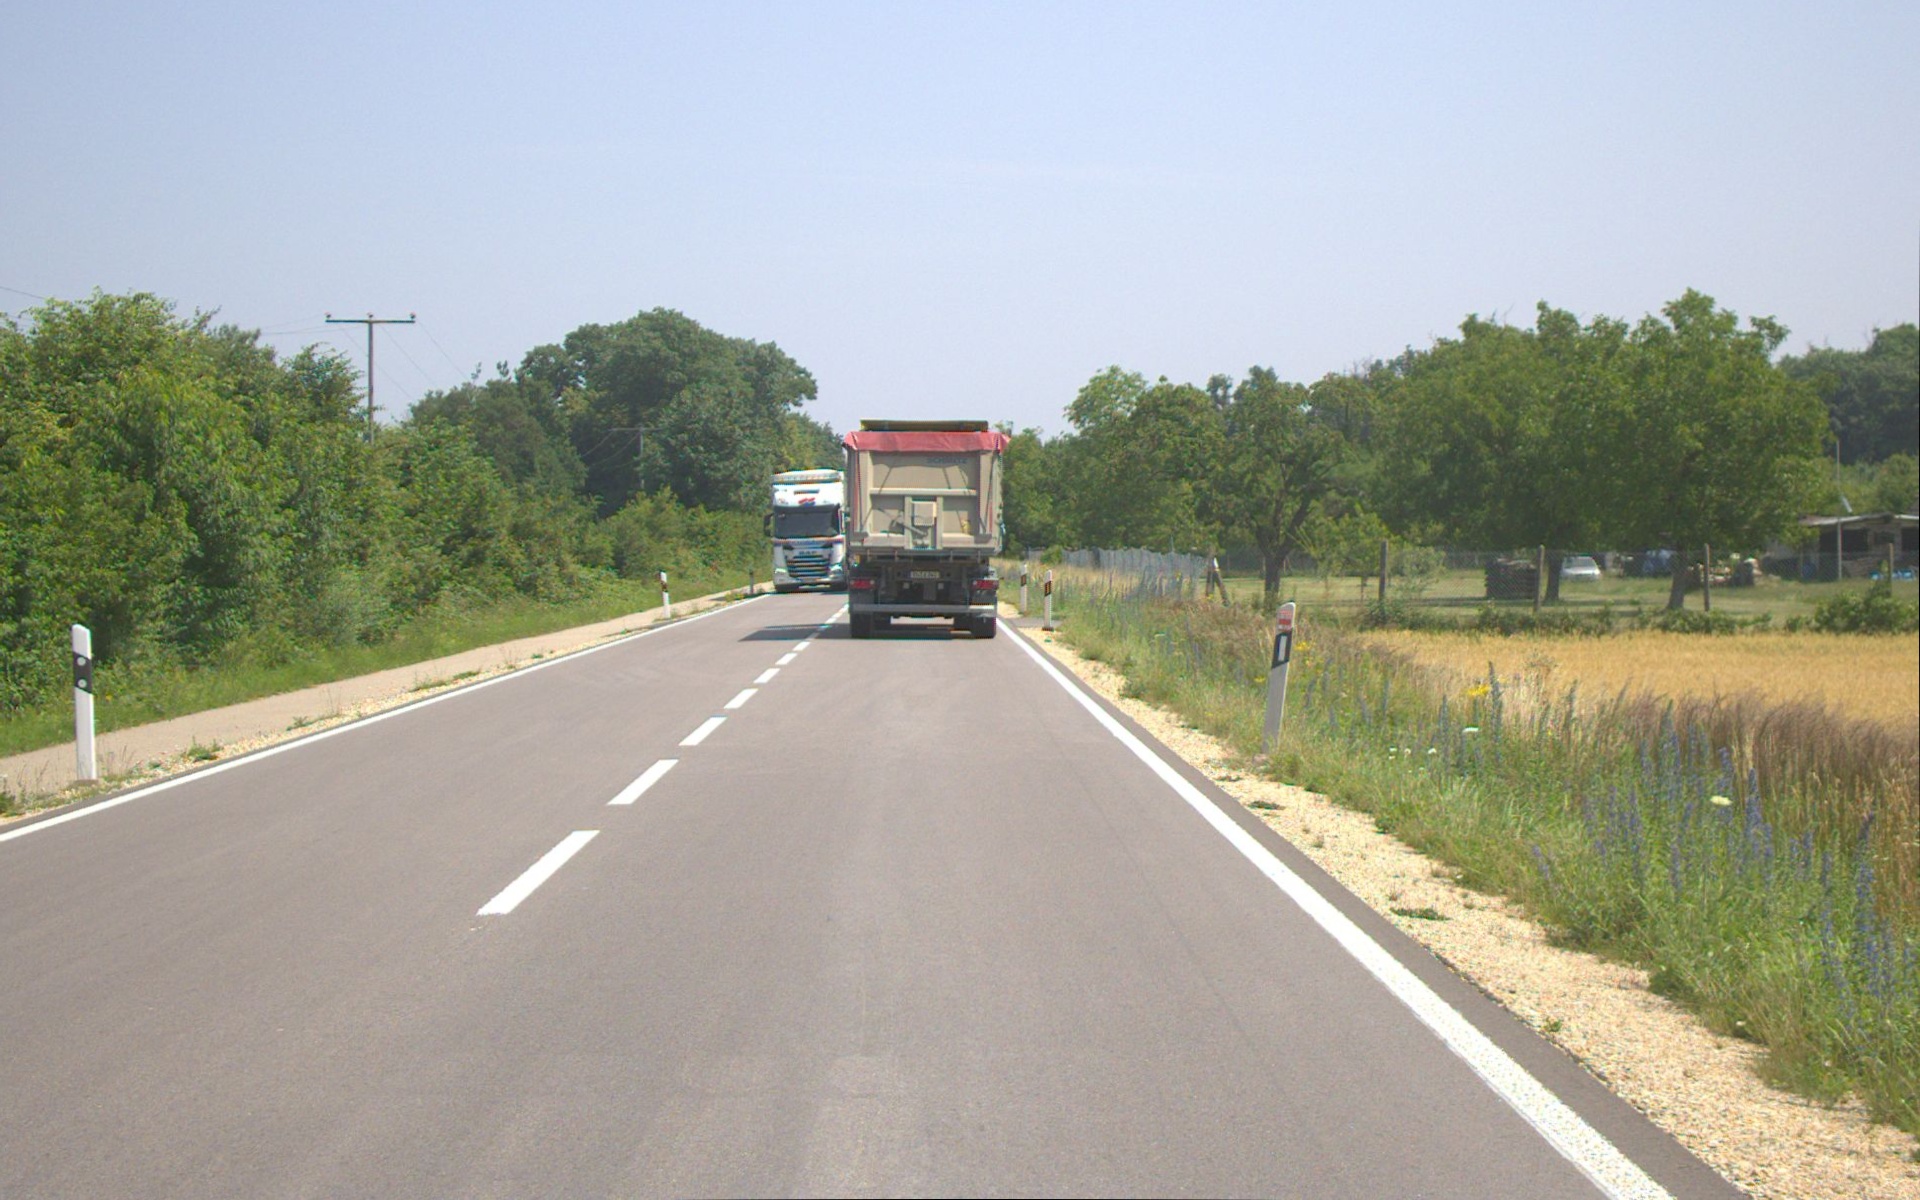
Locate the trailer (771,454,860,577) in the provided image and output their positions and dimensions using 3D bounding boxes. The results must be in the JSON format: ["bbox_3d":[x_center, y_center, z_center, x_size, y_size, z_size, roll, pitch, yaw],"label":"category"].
[{"bbox_3d":[-5.339,-3.129,128.954,2.717,4.251,13.811,-2,1,-1],"label":"trailer"}]

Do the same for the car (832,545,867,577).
[{"bbox_3d":[-5.957,-2.120,186.365,1.758,1.601,4.481,-3,1,-1],"label":"car"}]

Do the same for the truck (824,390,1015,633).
[{"bbox_3d":[-0.738,-1.502,61.653,3.009,3.861,12.210,1,1,-1],"label":"truck"}]

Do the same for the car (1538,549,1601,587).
[{"bbox_3d":[25.308,-1.338,142.880,1.592,1.481,3.429,-1,2,-8],"label":"car"}]

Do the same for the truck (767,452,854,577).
[{"bbox_3d":[-5.297,-3.037,122.905,2.717,4.251,7.390,-2,1,-1],"label":"truck"}]
